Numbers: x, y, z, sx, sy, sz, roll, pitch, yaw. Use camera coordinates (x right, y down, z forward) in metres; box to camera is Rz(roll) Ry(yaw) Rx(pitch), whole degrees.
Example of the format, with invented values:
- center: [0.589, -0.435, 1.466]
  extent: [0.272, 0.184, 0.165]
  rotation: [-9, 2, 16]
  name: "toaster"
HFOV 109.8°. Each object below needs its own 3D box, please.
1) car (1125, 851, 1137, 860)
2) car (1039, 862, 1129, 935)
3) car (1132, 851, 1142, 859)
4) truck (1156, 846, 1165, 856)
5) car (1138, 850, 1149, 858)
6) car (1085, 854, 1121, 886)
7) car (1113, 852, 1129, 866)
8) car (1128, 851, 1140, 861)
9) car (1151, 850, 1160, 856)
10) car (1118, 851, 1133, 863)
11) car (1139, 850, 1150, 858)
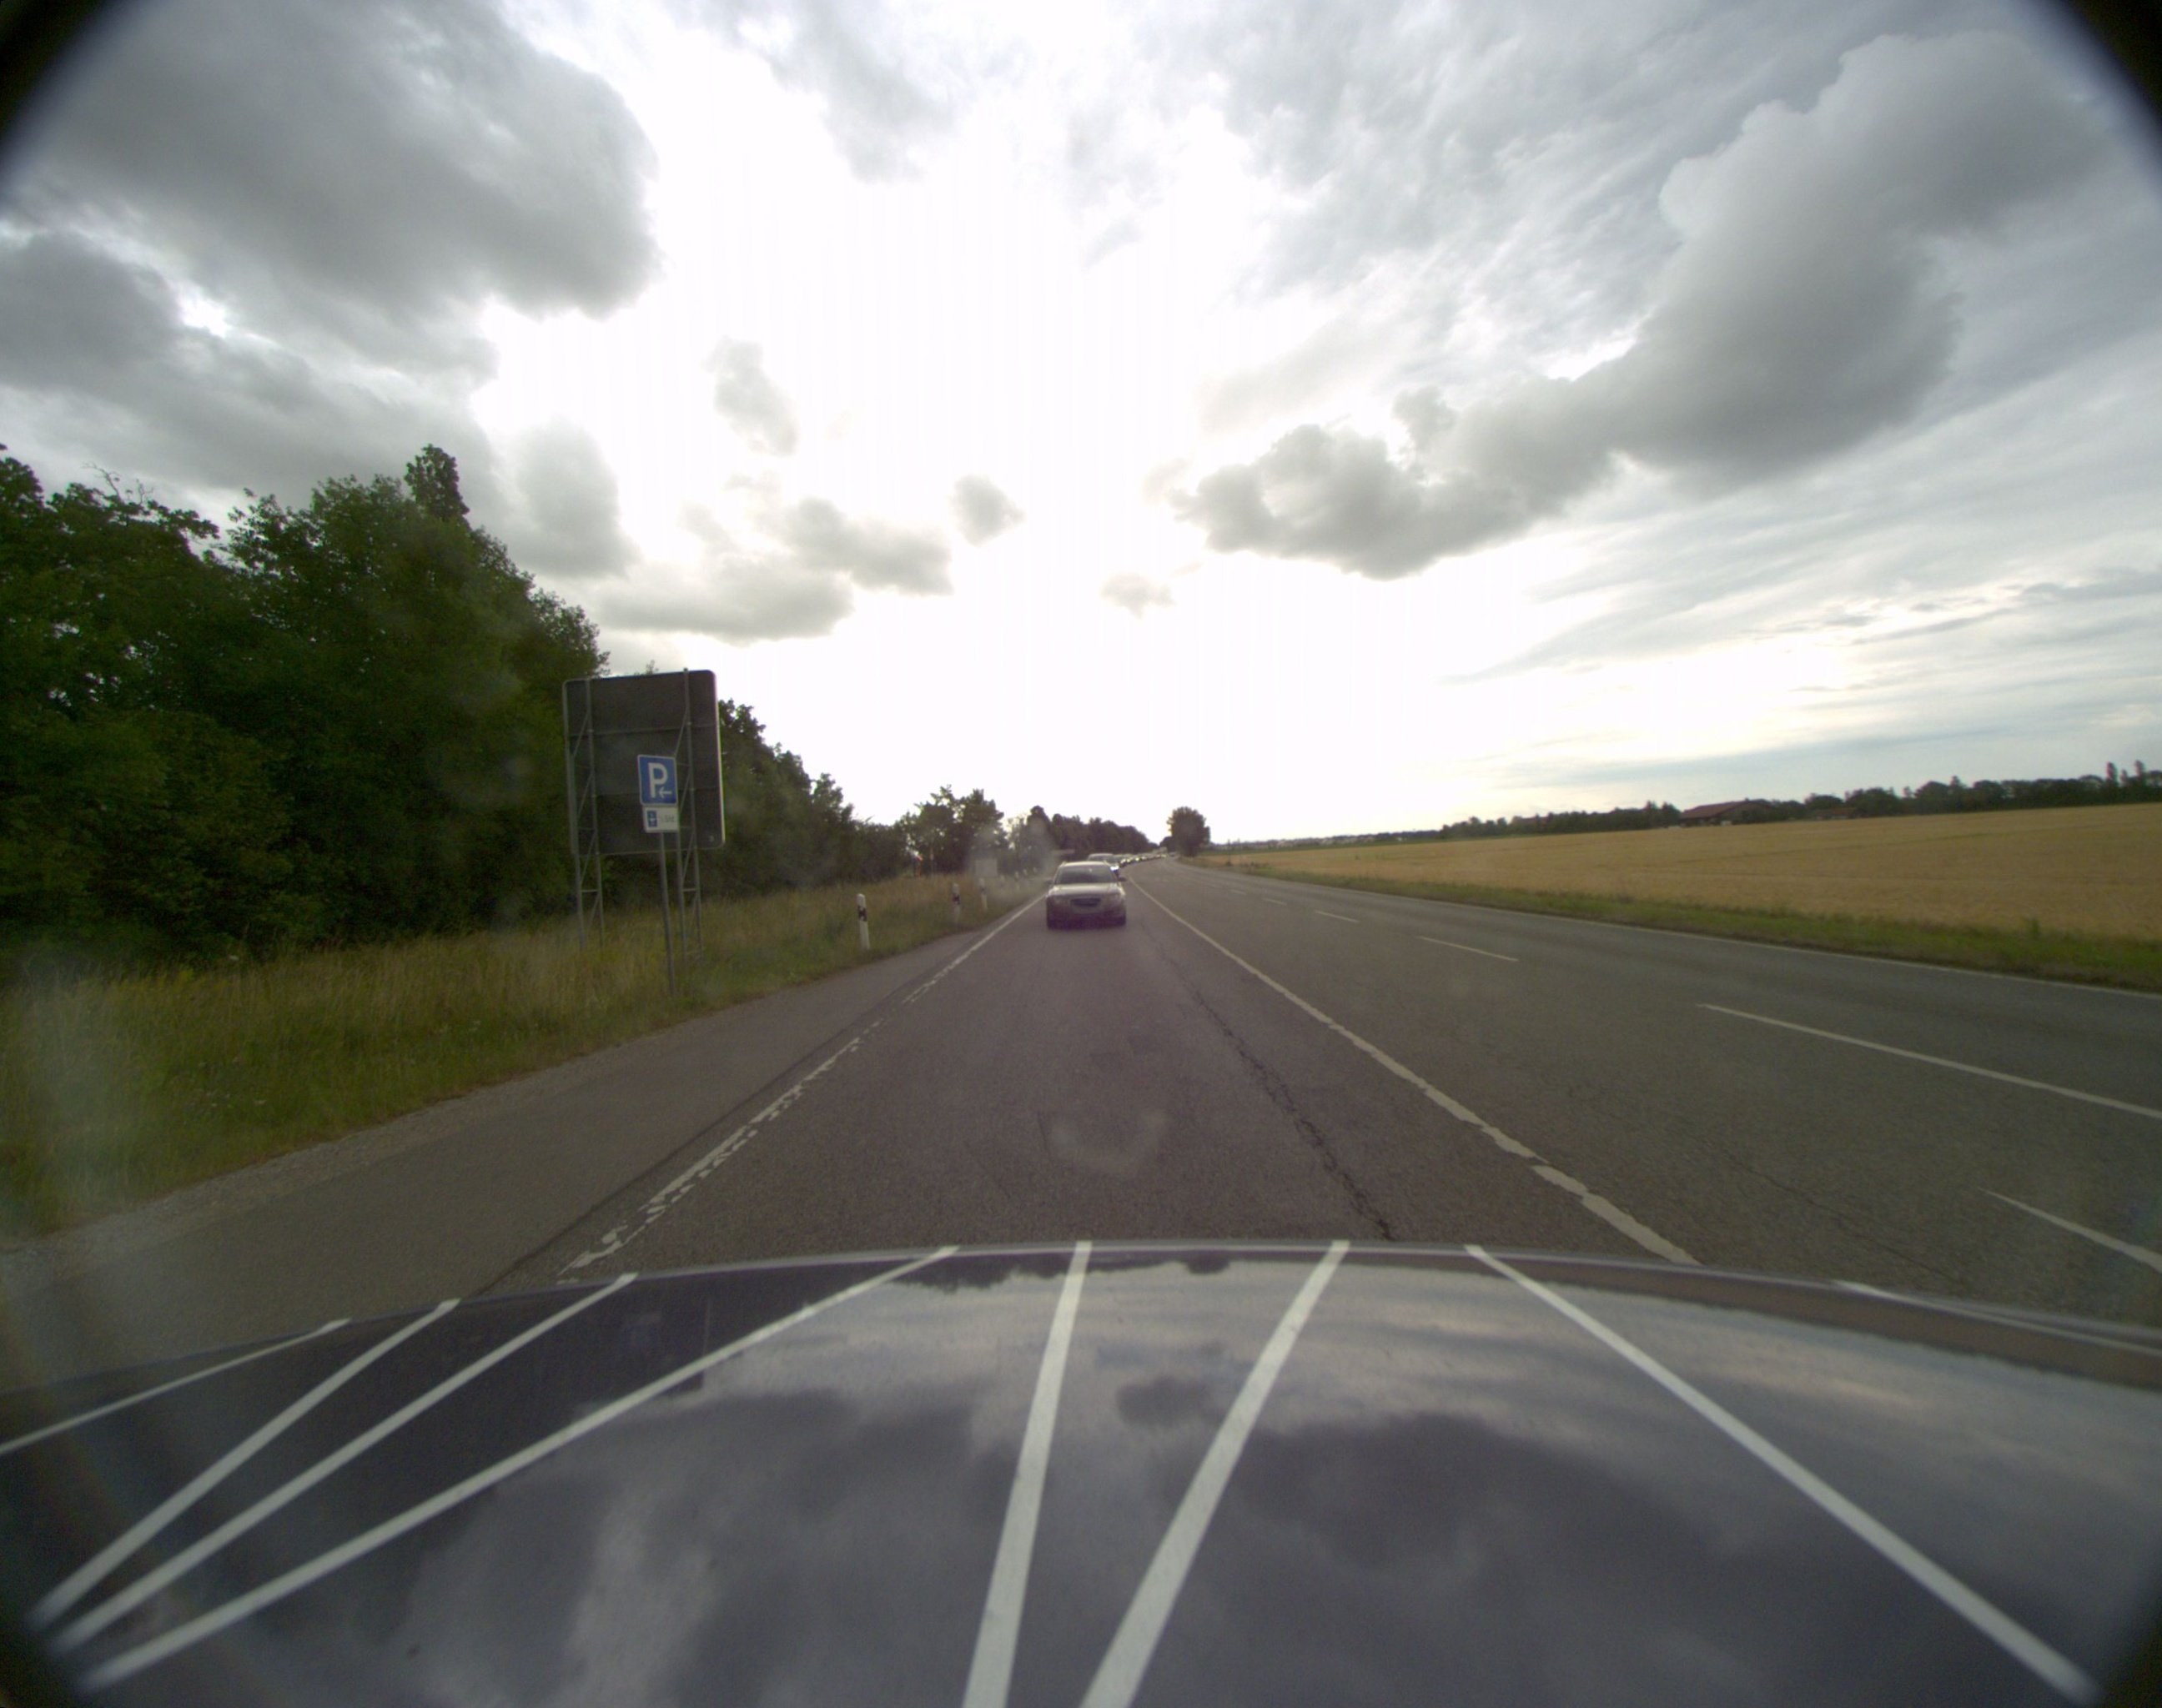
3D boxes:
- center: [8.980, 0.282, 137.190]
  extent: [1.793, 1.573, 4.139]
  rotation: [-2, 0, 8]
  name: "car"
- center: [0.197, 0.954, 18.098]
  extent: [1.793, 1.415, 4.368]
  rotation: [-2, 0, 4]
  name: "car"
- center: [11.008, 0.219, 149.204]
  extent: [1.793, 1.573, 4.139]
  rotation: [-2, 0, 8]
  name: "car"
- center: [25.068, -0.938, 239.255]
  extent: [2.318, 2.749, 7.678]
  rotation: [-3, 0, 10]
  name: "truck"
- center: [13.596, 0.018, 164.650]
  extent: [1.792, 1.573, 4.140]
  rotation: [-2, 0, 10]
  name: "car"
- center: [1.202, 0.820, 41.040]
  extent: [1.793, 1.573, 4.368]
  rotation: [-2, 0, 2]
  name: "car"
- center: [5.030, 0.603, 95.536]
  extent: [1.793, 1.573, 4.369]
  rotation: [-2, 0, 5]
  name: "car"
- center: [8.807, 0.361, 125.470]
  extent: [1.793, 1.573, 4.189]
  rotation: [-2, 0, 6]
  name: "car"
- center: [20.783, -0.391, 211.996]
  extent: [1.792, 1.530, 4.140]
  rotation: [-2, 0, 13]
  name: "car"
- center: [6.297, 0.452, 107.301]
  extent: [1.793, 1.573, 4.189]
  rotation: [-2, 0, 6]
  name: "car"
- center: [14.433, -0.057, 172.173]
  extent: [1.953, 1.573, 4.140]
  rotation: [-2, 0, 12]
  name: "car"
